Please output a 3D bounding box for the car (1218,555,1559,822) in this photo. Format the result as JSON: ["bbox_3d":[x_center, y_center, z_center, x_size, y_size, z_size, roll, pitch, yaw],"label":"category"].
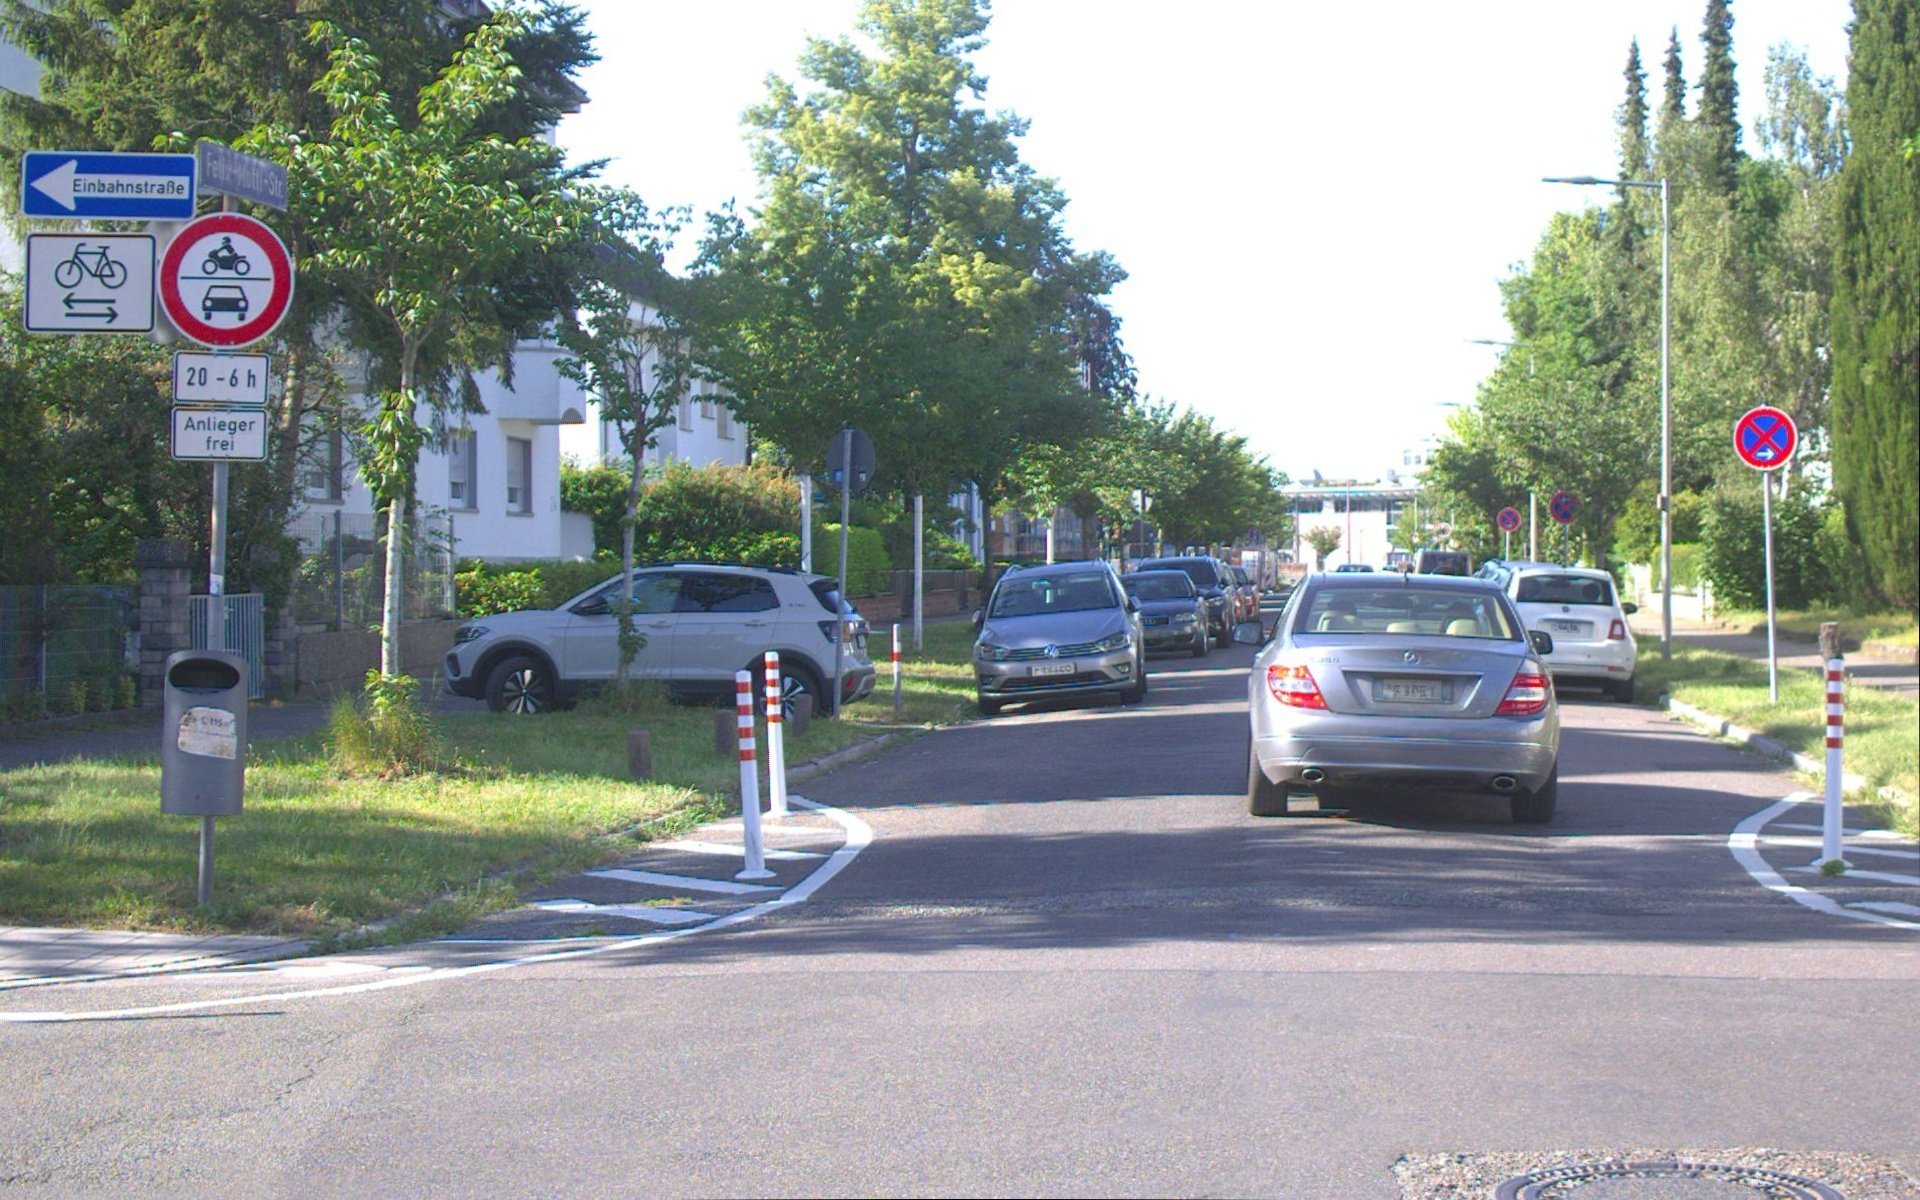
[{"bbox_3d":[2.589,0.451,20.712,1.836,1.436,3.999,0,1,7],"label":"car"}]

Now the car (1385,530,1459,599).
[{"bbox_3d":[12.733,-0.997,94.918,1.855,1.835,3.999,-1,1,6],"label":"car"}]

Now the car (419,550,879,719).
[{"bbox_3d":[-2.948,0.309,33.195,4.192,1.558,1.842,0,1,4],"label":"car"}]

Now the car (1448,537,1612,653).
[{"bbox_3d":[8.277,-0.100,50.199,1.994,1.604,4.000,-1,1,4],"label":"car"}]

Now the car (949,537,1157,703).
[{"bbox_3d":[1.077,0.178,37.813,1.994,1.604,4.000,-4,1,4],"label":"car"}]

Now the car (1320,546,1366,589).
[{"bbox_3d":[14.624,-1.262,131.402,1.597,1.604,3.643,-1,1,4],"label":"car"}]

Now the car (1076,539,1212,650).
[{"bbox_3d":[3.007,-0.116,55.513,1.994,1.604,4.000,-4,1,4],"label":"car"}]

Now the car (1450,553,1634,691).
[{"bbox_3d":[6.633,0.221,39.496,1.733,1.475,3.725,-1,1,4],"label":"car"}]

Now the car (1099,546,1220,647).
[{"bbox_3d":[3.589,-0.095,61.278,1.994,1.604,4.000,-4,1,4],"label":"car"}]
